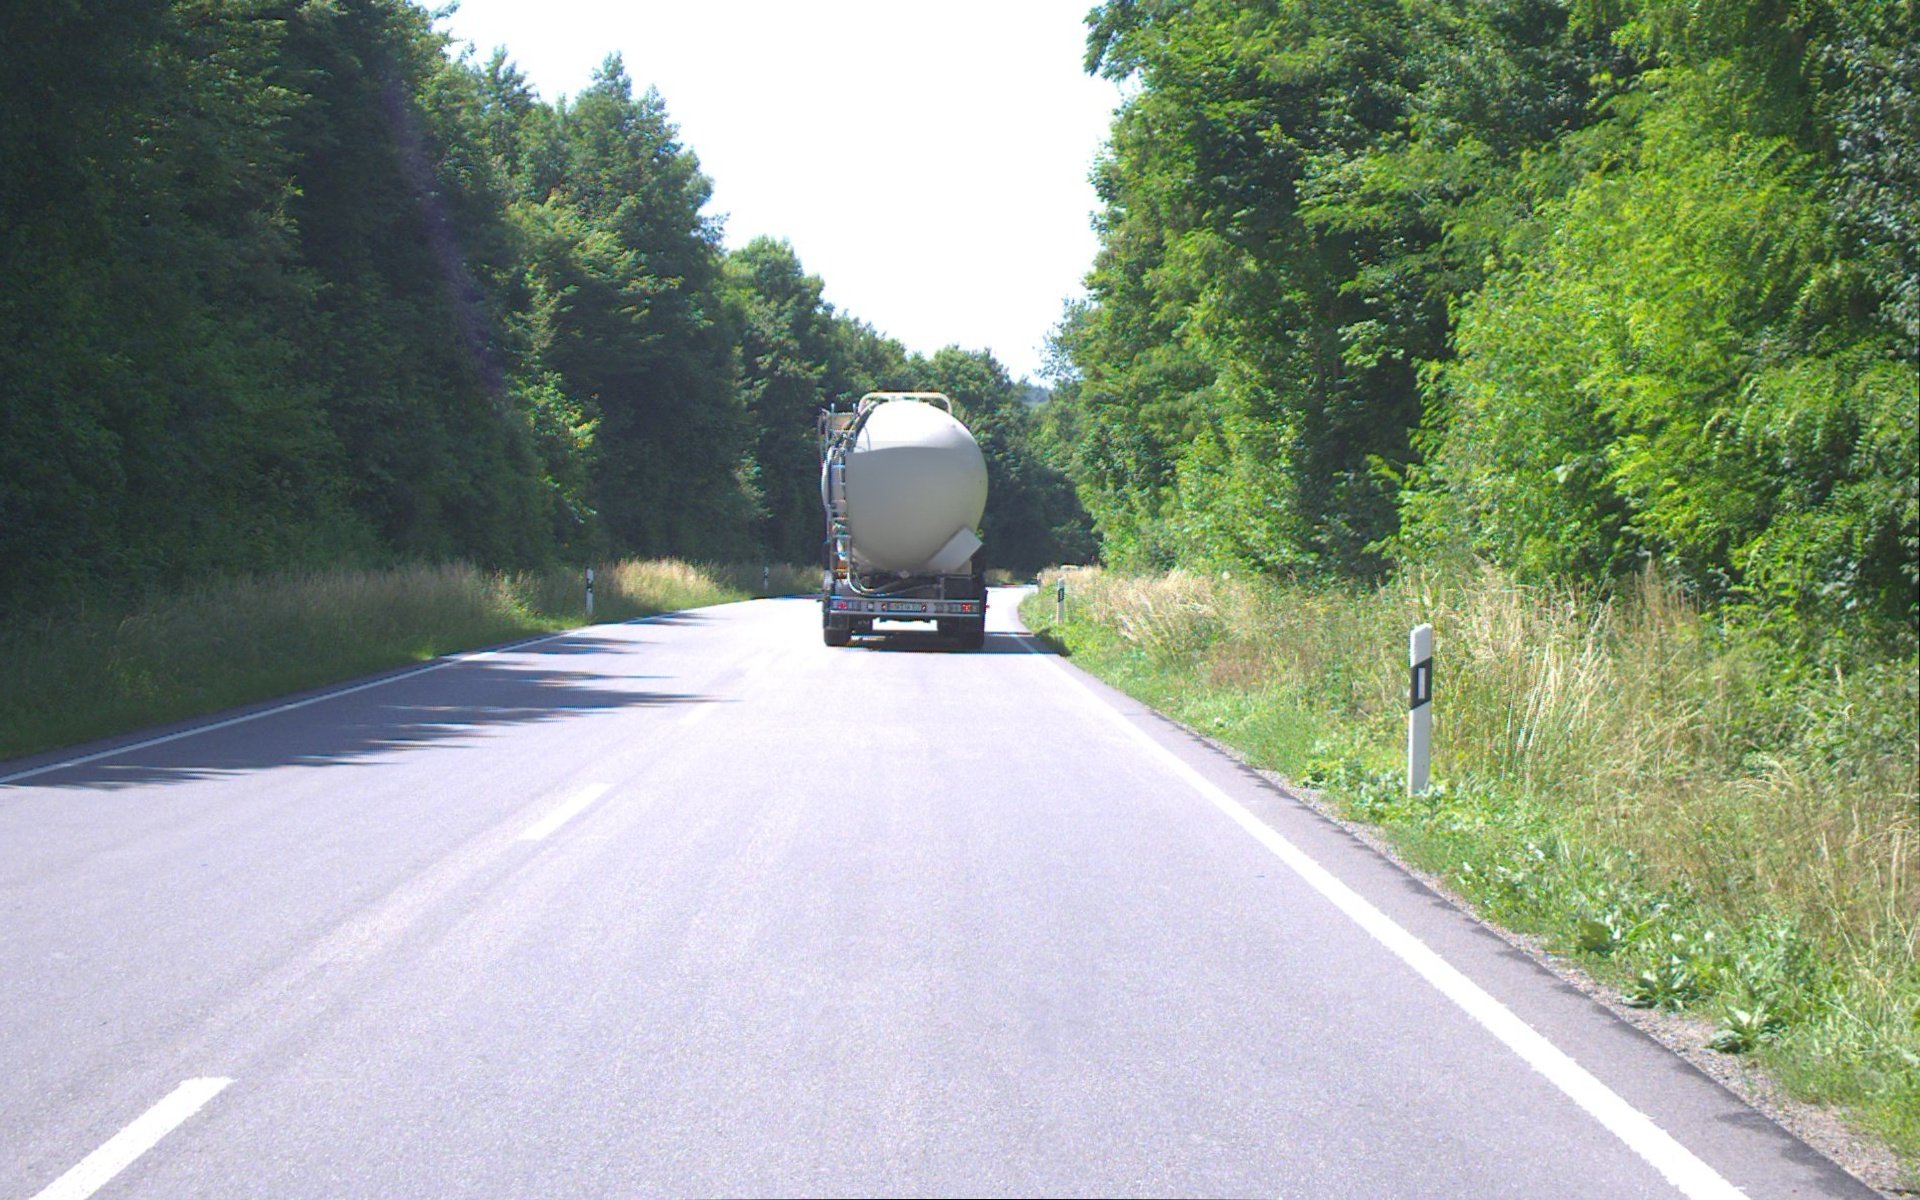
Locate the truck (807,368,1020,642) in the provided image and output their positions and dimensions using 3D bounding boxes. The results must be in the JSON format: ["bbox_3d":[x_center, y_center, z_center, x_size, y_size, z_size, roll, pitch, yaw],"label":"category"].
[{"bbox_3d":[-0.828,-1.513,59.024,3.049,3.984,15.637,2,1,-1],"label":"truck"}]
